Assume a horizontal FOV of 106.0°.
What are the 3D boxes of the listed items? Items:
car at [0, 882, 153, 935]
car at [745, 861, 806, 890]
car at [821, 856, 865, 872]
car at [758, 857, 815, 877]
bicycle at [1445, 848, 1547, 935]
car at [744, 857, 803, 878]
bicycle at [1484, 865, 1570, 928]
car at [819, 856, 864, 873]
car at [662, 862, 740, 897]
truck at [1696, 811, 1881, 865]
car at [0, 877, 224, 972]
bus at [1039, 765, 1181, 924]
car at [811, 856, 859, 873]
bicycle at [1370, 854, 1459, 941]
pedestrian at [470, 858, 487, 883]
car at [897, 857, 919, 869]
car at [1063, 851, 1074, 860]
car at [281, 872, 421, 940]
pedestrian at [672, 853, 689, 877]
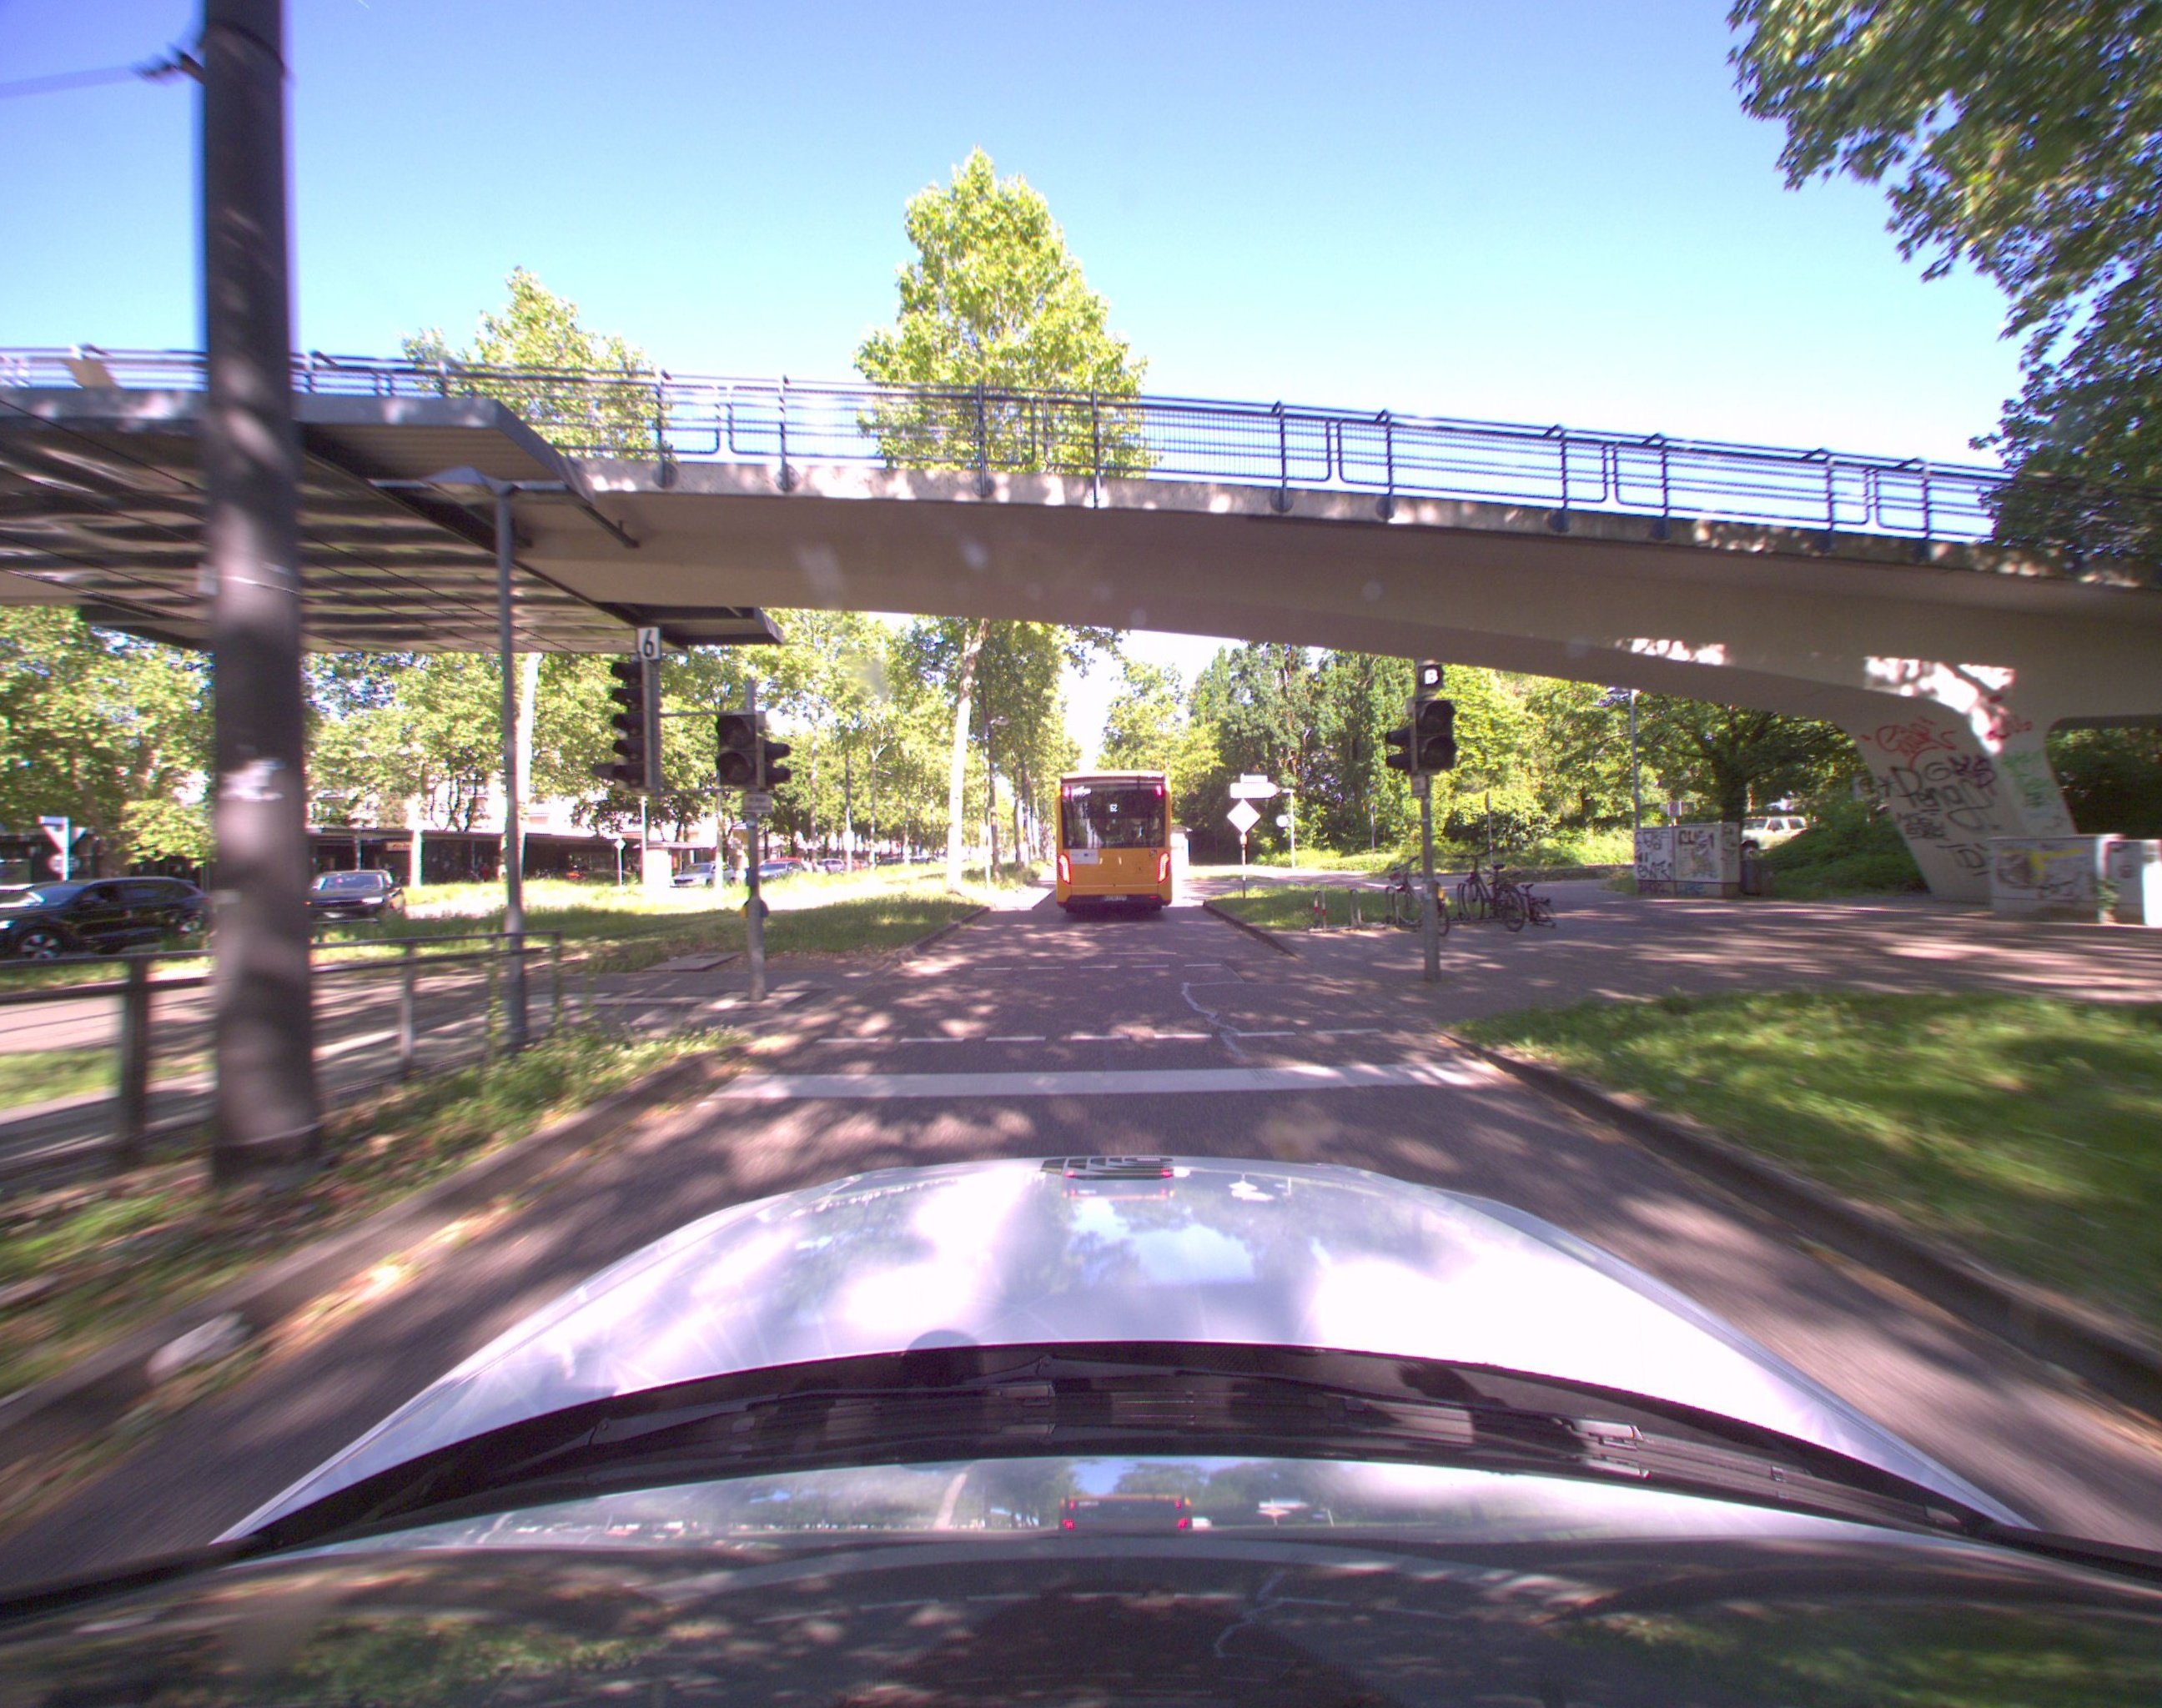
[{"bbox_3d":[-33.069,1.752,26.185,4.068,1.510,1.797,-2,0,-6],"label":"car"},{"bbox_3d":[-17.567,1.193,47.102,1.789,1.510,4.673,-2,0,-1],"label":"car"},{"bbox_3d":[-25.072,1.072,85.791,1.777,1.510,4.024,-2,0,45],"label":"car"},{"bbox_3d":[-24.674,1.067,68.310,1.777,1.510,4.024,-2,0,45],"label":"car"},{"bbox_3d":[6.353,0.532,12.563,0.588,1.182,1.800,-5,1,1],"label":"bicycle"},{"bbox_3d":[-24.541,1.087,65.025,1.777,1.510,4.024,-2,0,45],"label":"car"},{"bbox_3d":[6.974,0.633,12.810,0.503,0.852,1.473,-5,1,1],"label":"bicycle"},{"bbox_3d":[-24.290,1.060,82.797,1.777,1.510,4.024,-2,0,45],"label":"car"},{"bbox_3d":[-19.230,1.241,41.453,1.787,1.580,4.290,-2,0,2],"label":"car"},{"bbox_3d":[30.799,-0.678,35.541,6.617,2.094,2.115,-2,-1,-6],"label":"truck"},{"bbox_3d":[-20.307,1.346,16.307,1.790,1.566,4.284,-2,0,-2],"label":"car"},{"bbox_3d":[0.688,-0.213,23.323,2.890,3.266,12.218,-2,0,1],"label":"bus"},{"bbox_3d":[-23.921,1.037,79.284,1.777,1.510,4.024,-2,0,45],"label":"car"},{"bbox_3d":[5.135,0.631,12.656,0.588,1.182,1.800,-5,1,1],"label":"bicycle"},{"bbox_3d":[-41.350,1.134,55.861,0.647,1.661,0.649,-2,0,-4],"label":"pedestrian"},{"bbox_3d":[-22.924,1.136,108.170,1.786,1.510,4.005,-2,0,5],"label":"car"},{"bbox_3d":[-2.512,0.286,162.201,1.978,1.643,4.137,1,1,3],"label":"car"},{"bbox_3d":[-19.648,1.316,22.138,1.804,1.566,4.249,-2,0,-28],"label":"car"},{"bbox_3d":[-24.336,0.651,49.430,0.645,1.460,0.651,-2,0,3],"label":"pedestrian"}]
